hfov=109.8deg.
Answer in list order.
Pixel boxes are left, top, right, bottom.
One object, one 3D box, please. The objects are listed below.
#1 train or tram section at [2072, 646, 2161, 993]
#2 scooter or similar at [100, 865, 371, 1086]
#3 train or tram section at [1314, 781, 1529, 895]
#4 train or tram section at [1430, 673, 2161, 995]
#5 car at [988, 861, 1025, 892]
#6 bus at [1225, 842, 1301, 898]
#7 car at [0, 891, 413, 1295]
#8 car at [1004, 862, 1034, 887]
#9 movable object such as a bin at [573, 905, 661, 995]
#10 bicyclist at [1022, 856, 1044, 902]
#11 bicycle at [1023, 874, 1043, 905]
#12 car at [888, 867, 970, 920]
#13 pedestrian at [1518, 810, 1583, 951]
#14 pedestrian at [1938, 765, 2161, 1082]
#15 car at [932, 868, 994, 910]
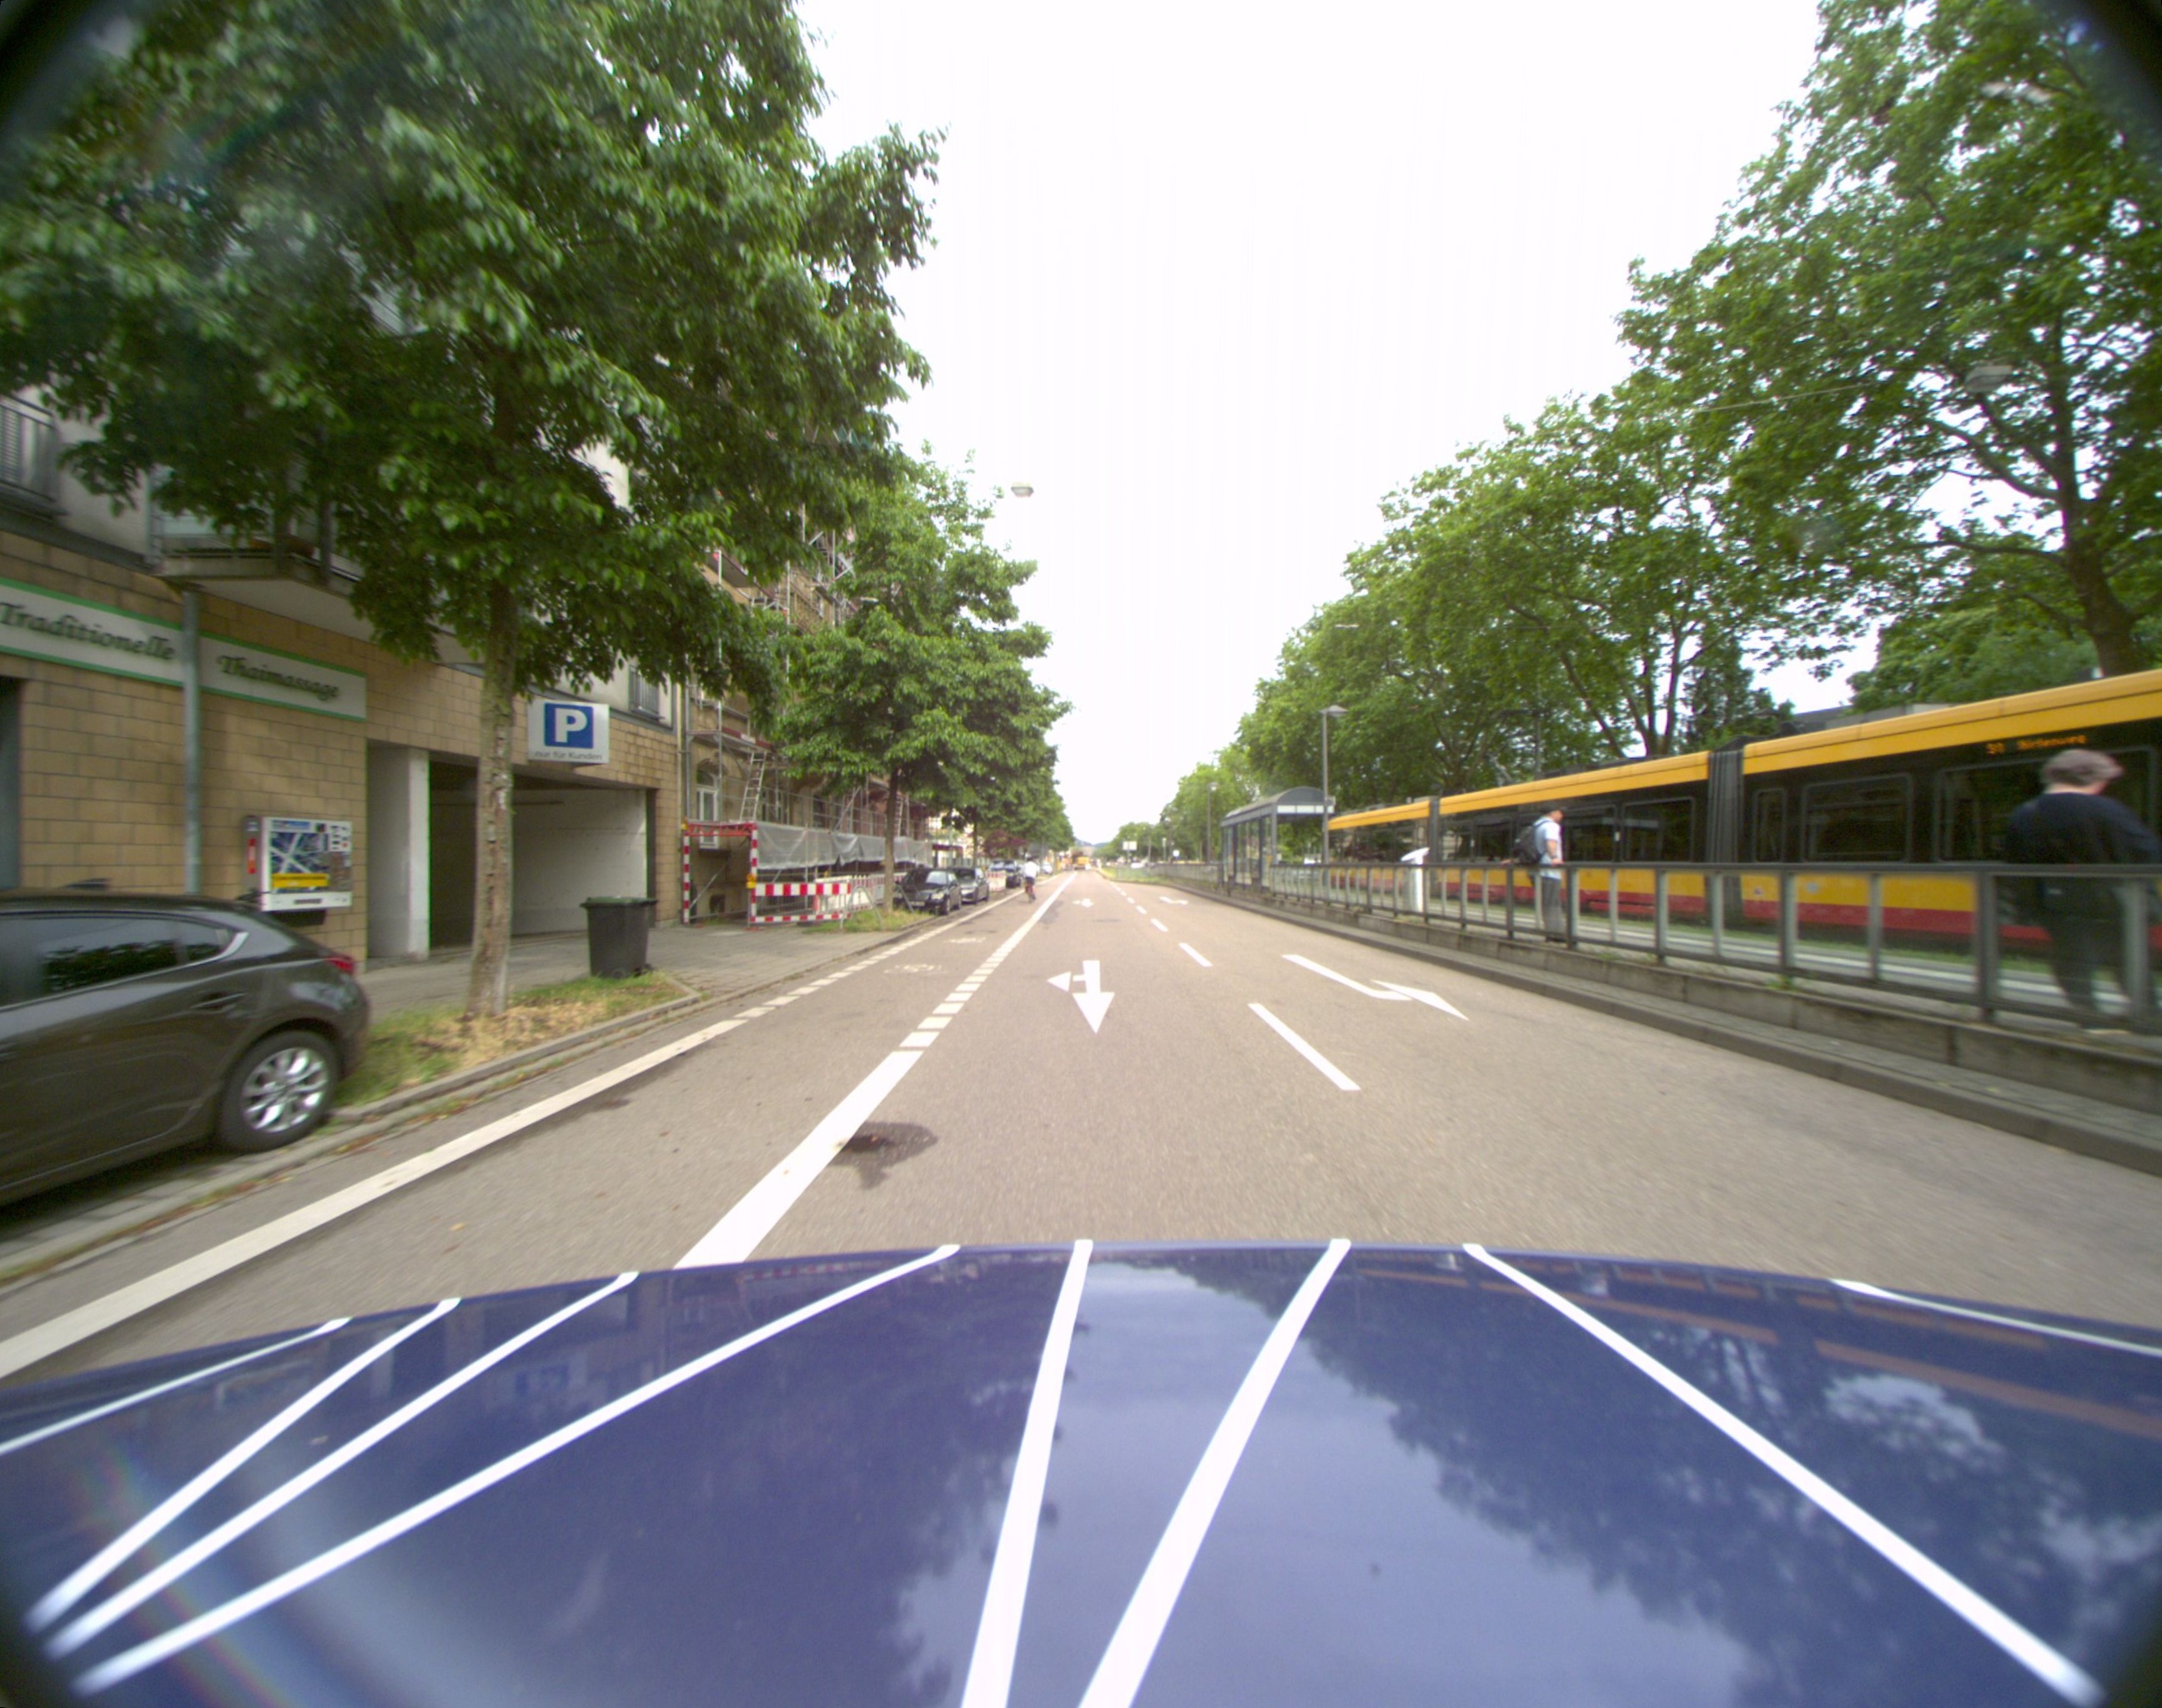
[{"bbox_3d":[12.407,-0.412,0.715,3.067,3.511,15.295,-2,0,1],"label":"train or tram section"},{"bbox_3d":[-6.258,0.819,5.729,0.516,1.446,1.342,1,0,1],"label":"scooter or similar"},{"bbox_3d":[12.753,-0.491,30.457,3.100,3.541,12.539,-2,0,1],"label":"train or tram section"},{"bbox_3d":[12.592,-0.231,16.240,3.067,3.511,15.772,-2,0,1],"label":"train or tram section"},{"bbox_3d":[-4.506,1.323,46.415,1.837,1.720,4.280,1,0,0],"label":"car"},{"bbox_3d":[6.999,0.591,29.663,1.998,2.002,4.000,-2,0,1],"label":"bus"},{"bbox_3d":[-5.128,0.984,2.624,1.802,1.447,4.388,2,0,-1],"label":"car"},{"bbox_3d":[-4.502,1.484,55.708,1.837,1.685,3.762,1,0,0],"label":"car"},{"bbox_3d":[-5.773,1.186,9.481,0.764,1.048,0.541,1,0,0],"label":"movable object such as a bin"},{"bbox_3d":[-1.896,0.965,30.073,0.751,1.776,0.838,-2,0,1],"label":"bicyclist"},{"bbox_3d":[-1.863,1.378,29.691,0.613,1.116,2.050,-2,0,1],"label":"bicycle"},{"bbox_3d":[-4.753,1.181,24.347,1.755,1.452,4.280,1,0,0],"label":"car"},{"bbox_3d":[5.557,0.308,9.008,0.480,1.623,0.392,-2,0,2],"label":"pedestrian"},{"bbox_3d":[5.504,0.359,4.275,0.513,1.623,0.730,-2,0,2],"label":"pedestrian"},{"bbox_3d":[-4.567,1.319,29.965,1.755,1.452,4.280,1,0,0],"label":"car"}]
